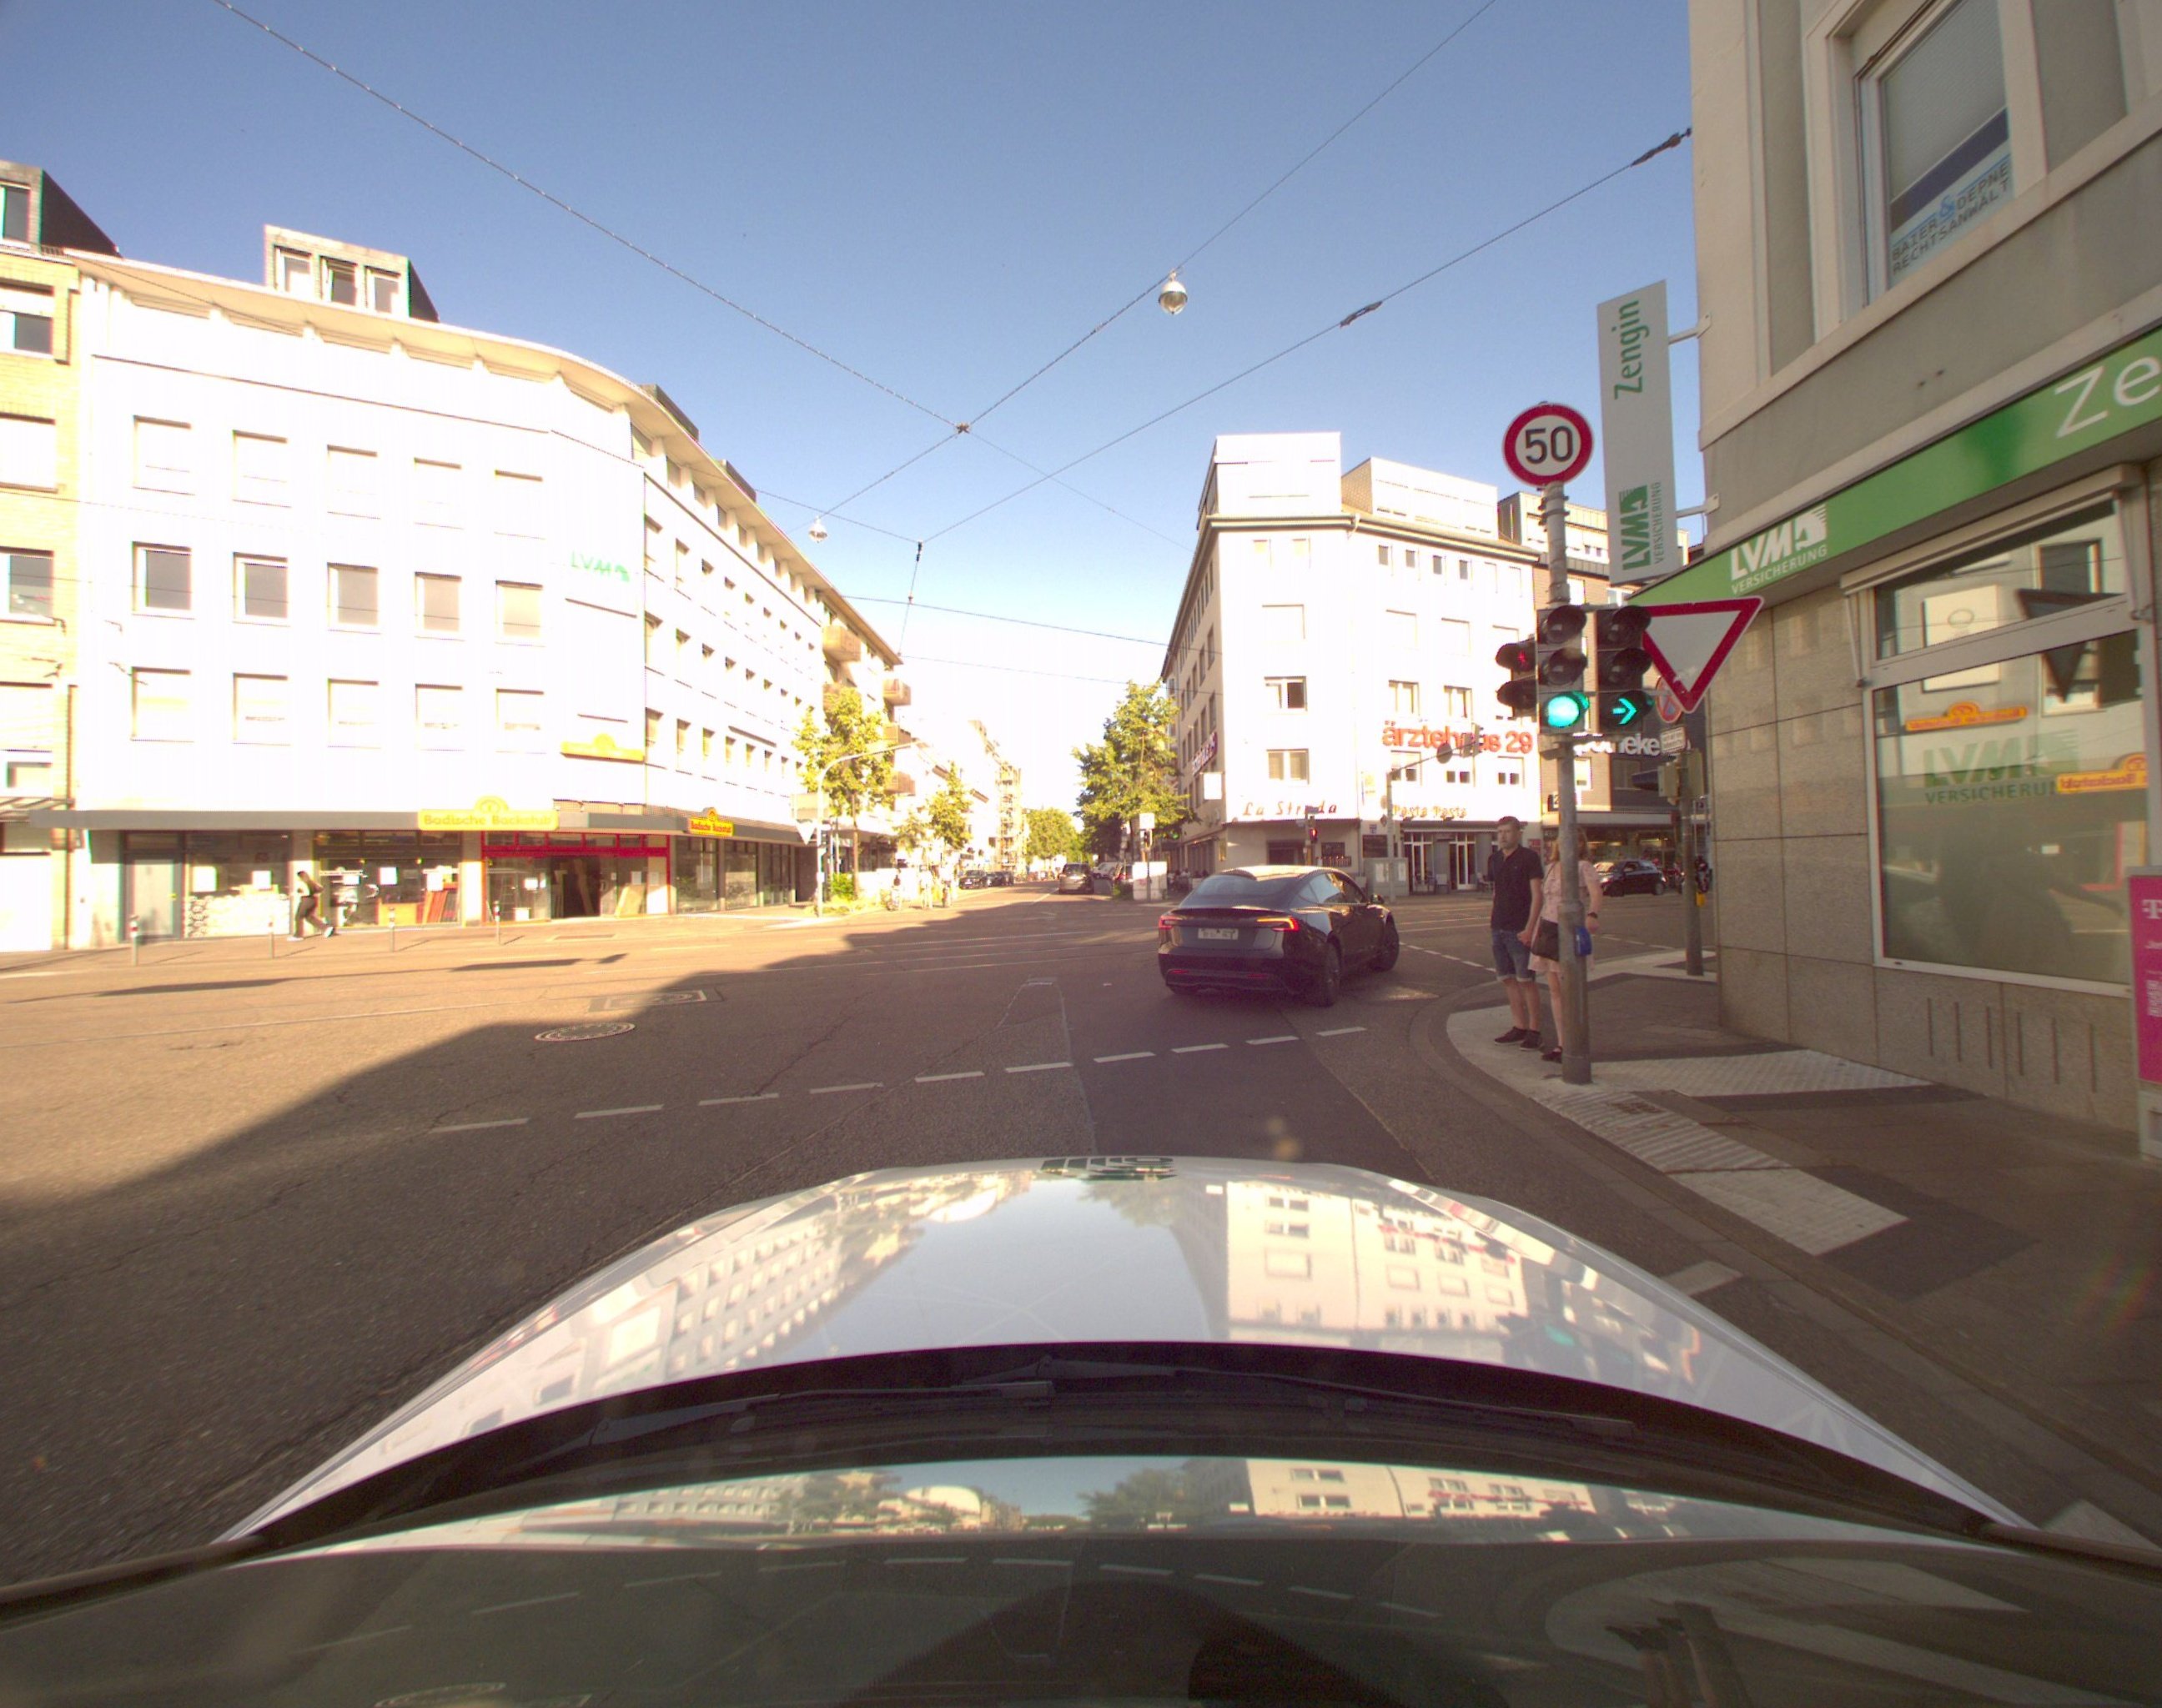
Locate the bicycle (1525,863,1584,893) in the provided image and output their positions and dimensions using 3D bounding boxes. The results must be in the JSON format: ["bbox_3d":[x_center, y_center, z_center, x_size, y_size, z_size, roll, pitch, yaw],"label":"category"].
[{"bbox_3d":[20.265,1.009,34.883,0.776,1.223,2.091,-1,0,-27],"label":"bicycle"}]

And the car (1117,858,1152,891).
[{"bbox_3d":[3.199,1.234,49.429,1.897,1.852,4.289,-1,-1,2],"label":"car"}]

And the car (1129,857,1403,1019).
[{"bbox_3d":[2.462,0.803,9.835,1.851,1.427,4.392,-2,0,32],"label":"car"}]

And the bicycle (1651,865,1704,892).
[{"bbox_3d":[27.423,1.120,37.473,0.553,1.190,1.924,-1,0,-26],"label":"bicycle"}]

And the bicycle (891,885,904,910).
[{"bbox_3d":[-7.271,1.717,32.299,0.480,0.956,1.449,-2,-1,-12],"label":"bicycle"}]

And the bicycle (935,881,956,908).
[{"bbox_3d":[-5.467,1.617,32.907,0.758,1.008,1.719,-4,-1,-10],"label":"bicycle"}]

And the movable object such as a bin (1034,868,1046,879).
[{"bbox_3d":[-5.229,2.531,104.613,1.311,1.408,1.065,-1,-1,-16],"label":"movable object such as a bin"}]

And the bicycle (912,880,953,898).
[{"bbox_3d":[-9.026,2.146,49.461,2.396,1.006,0.653,-1,-1,-10],"label":"bicycle"}]

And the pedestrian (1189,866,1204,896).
[{"bbox_3d":[5.287,1.233,37.282,0.584,1.313,0.560,-2,-1,1],"label":"pedestrian"}]

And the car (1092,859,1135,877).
[{"bbox_3d":[4.167,1.755,104.734,5.374,2.146,2.000,-2,-1,0],"label":"car"}]

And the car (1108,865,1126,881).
[{"bbox_3d":[4.090,2.184,93.057,1.986,1.825,4.002,-1,-1,2],"label":"car"}]

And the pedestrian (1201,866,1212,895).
[{"bbox_3d":[5.860,1.231,38.052,0.485,1.322,0.655,-2,-1,9],"label":"pedestrian"}]

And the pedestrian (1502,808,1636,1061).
[{"bbox_3d":[3.581,0.562,6.020,0.570,1.759,0.649,-1,-1,1],"label":"pedestrian"}]

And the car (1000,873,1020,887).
[{"bbox_3d":[-7.290,2.672,84.006,1.780,1.402,3.905,-1,-1,0],"label":"car"}]

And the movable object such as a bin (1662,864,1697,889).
[{"bbox_3d":[27.806,1.036,37.851,0.735,1.072,1.095,-1,0,-22],"label":"movable object such as a bin"}]

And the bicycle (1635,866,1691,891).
[{"bbox_3d":[26.593,1.122,37.250,0.776,1.111,1.923,-1,-1,-27],"label":"bicycle"}]

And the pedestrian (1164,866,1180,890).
[{"bbox_3d":[5.344,1.399,47.889,0.707,1.347,1.059,-2,-1,-2],"label":"pedestrian"}]

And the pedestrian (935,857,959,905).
[{"bbox_3d":[-5.437,1.085,33.076,0.779,1.866,0.997,-4,0,-13],"label":"pedestrian"}]

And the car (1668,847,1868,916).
[{"bbox_3d":[15.667,0.579,18.565,4.360,1.419,1.753,0,-1,-24],"label":"car"}]

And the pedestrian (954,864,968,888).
[{"bbox_3d":[-10.454,1.879,70.970,0.952,2.013,1.085,-4,-1,-12],"label":"pedestrian"}]

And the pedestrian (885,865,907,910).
[{"bbox_3d":[-7.257,1.304,31.958,0.791,1.712,0.651,0,-1,-14],"label":"pedestrian"}]

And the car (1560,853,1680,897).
[{"bbox_3d":[20.372,0.793,30.770,4.142,1.446,1.705,-1,-3,-23],"label":"car"}]

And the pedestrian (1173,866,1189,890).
[{"bbox_3d":[5.713,1.372,46.774,0.728,1.347,1.059,-2,-1,-1],"label":"pedestrian"}]

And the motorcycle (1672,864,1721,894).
[{"bbox_3d":[24.649,0.994,32.606,2.119,1.120,0.567,-1,-2,-23],"label":"motorcycle"}]

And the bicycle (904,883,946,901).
[{"bbox_3d":[-9.047,2.190,47.299,2.397,0.958,0.543,-1,-1,-11],"label":"bicycle"}]

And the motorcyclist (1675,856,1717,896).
[{"bbox_3d":[24.664,0.880,32.664,1.147,1.558,0.799,-1,-2,-22],"label":"motorcyclist"}]

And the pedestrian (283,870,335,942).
[{"bbox_3d":[-18.962,1.262,20.014,0.557,1.709,0.712,-2,-1,-1],"label":"pedestrian"}]

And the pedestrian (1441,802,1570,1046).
[{"bbox_3d":[3.395,0.536,6.568,0.637,1.842,0.682,-2,-1,1],"label":"pedestrian"}]

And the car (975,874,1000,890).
[{"bbox_3d":[-8.484,2.515,74.042,1.780,1.402,3.905,-1,-1,0],"label":"car"}]

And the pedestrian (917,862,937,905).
[{"bbox_3d":[-6.286,1.207,33.210,0.779,1.728,0.557,0,-1,-13],"label":"pedestrian"}]

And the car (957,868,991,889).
[{"bbox_3d":[-8.672,1.981,66.372,1.985,1.598,4.003,-1,-1,3],"label":"car"}]

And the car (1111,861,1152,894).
[{"bbox_3d":[2.607,1.217,42.817,1.993,1.636,4.289,-1,-1,2],"label":"car"}]

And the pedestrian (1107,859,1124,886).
[{"bbox_3d":[2.535,1.318,59.483,0.950,1.915,1.110,-2,-1,17],"label":"pedestrian"}]

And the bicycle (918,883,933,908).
[{"bbox_3d":[-6.306,1.674,33.116,0.552,0.968,1.788,-2,-1,-10],"label":"bicycle"}]

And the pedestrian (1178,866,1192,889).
[{"bbox_3d":[6.128,1.376,48.036,0.728,1.360,0.959,-2,-1,1],"label":"pedestrian"}]

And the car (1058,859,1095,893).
[{"bbox_3d":[-0.214,1.205,45.293,1.897,1.733,4.289,-1,-1,2],"label":"car"}]

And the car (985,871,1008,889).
[{"bbox_3d":[-8.172,2.476,79.171,1.712,1.610,3.597,-2,-1,1],"label":"car"}]

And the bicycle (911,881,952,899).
[{"bbox_3d":[-8.912,2.130,48.625,2.389,0.978,0.654,-1,-1,-9],"label":"bicycle"}]
